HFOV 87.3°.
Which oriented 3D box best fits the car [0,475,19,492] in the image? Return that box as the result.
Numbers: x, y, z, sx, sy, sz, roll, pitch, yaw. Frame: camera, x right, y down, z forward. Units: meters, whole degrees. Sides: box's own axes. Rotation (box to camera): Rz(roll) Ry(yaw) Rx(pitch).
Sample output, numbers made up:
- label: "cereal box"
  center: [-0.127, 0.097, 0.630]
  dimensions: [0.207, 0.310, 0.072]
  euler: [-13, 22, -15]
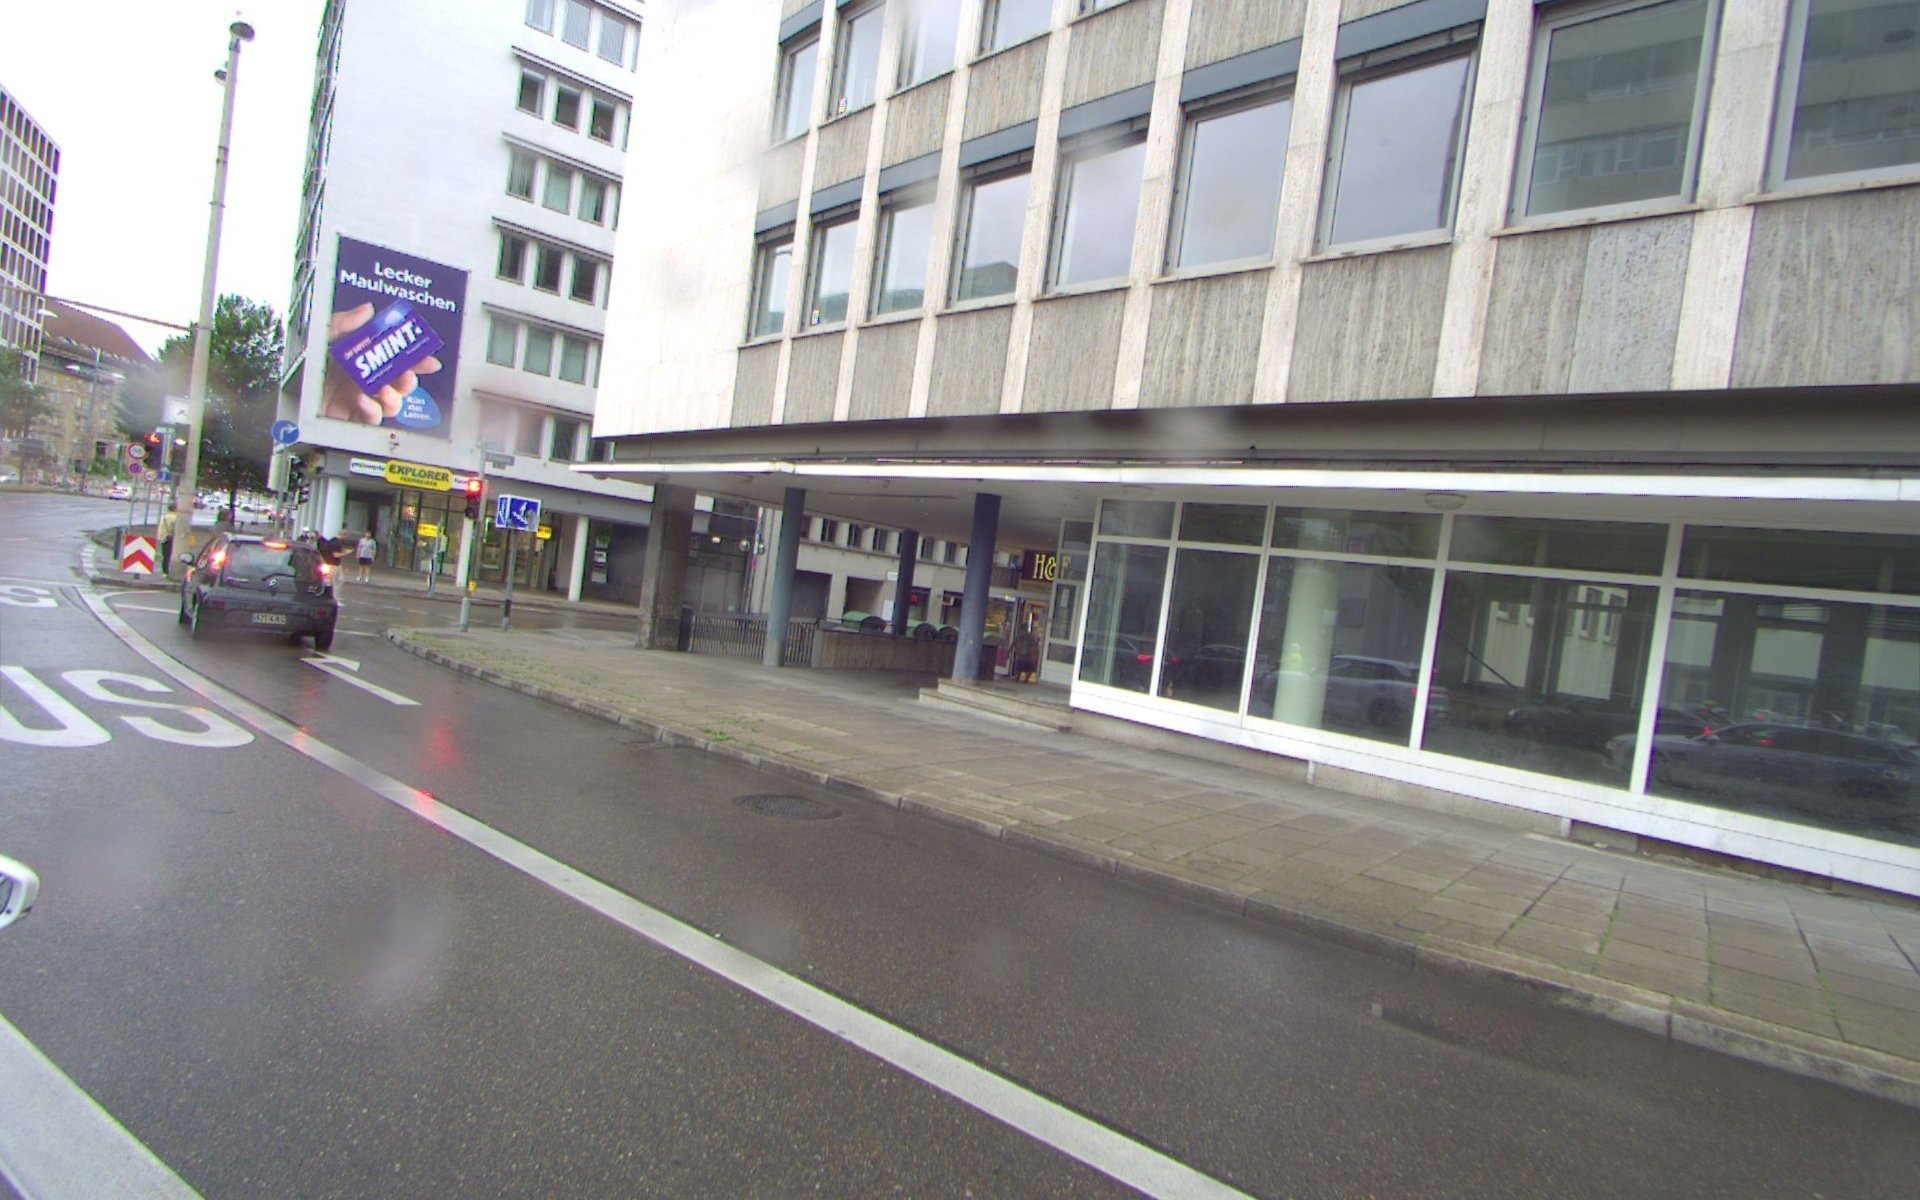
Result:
- label: "car"
  center: [-96.228, -11.779, 100.740]
  dimensions: [1.979, 1.506, 3.968]
  euler: [8, 0, -30]

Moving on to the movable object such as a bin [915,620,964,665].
- label: "movable object such as a bin"
  center: [-0.742, 1.506, 35.952]
  dimensions: [1.094, 1.399, 1.186]
  euler: [7, 1, -37]

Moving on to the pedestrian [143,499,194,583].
- label: "pedestrian"
  center: [-18.488, -1.383, 23.514]
  dimensions: [0.745, 1.820, 0.808]
  euler: [7, 1, -38]

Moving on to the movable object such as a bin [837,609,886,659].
- label: "movable object such as a bin"
  center: [-3.287, 1.125, 33.527]
  dimensions: [0.961, 1.447, 1.268]
  euler: [7, 1, -36]

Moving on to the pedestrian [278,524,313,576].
- label: "pedestrian"
  center: [-22.839, -1.726, 34.601]
  dimensions: [0.660, 1.675, 0.651]
  euler: [8, 0, -15]

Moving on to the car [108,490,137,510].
- label: "car"
  center: [-88.720, -10.579, 106.611]
  dimensions: [1.877, 1.662, 3.962]
  euler: [8, -1, -35]

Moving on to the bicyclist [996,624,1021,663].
- label: "bicyclist"
  center: [2.109, 1.905, 43.663]
  dimensions: [0.764, 1.588, 0.527]
  euler: [7, 0, -40]

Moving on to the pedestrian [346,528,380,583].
- label: "pedestrian"
  center: [-20.961, -1.540, 35.325]
  dimensions: [0.660, 1.815, 0.771]
  euler: [7, 0, -15]

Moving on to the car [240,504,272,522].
- label: "car"
  center: [-112.991, -13.945, 161.450]
  dimensions: [3.961, 2.037, 1.983]
  euler: [9, -1, -32]

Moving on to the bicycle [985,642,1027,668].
- label: "bicycle"
  center: [1.998, 2.388, 43.667]
  dimensions: [2.018, 0.899, 0.398]
  euler: [9, -1, -41]

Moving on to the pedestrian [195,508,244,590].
- label: "pedestrian"
  center: [-17.539, -1.209, 23.832]
  dimensions: [0.745, 1.820, 0.808]
  euler: [7, 1, -38]

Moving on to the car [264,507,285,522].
- label: "car"
  center: [-91.784, -11.413, 134.709]
  dimensions: [1.680, 1.503, 3.973]
  euler: [8, -2, -28]

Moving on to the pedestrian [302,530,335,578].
- label: "pedestrian"
  center: [-22.177, -1.583, 34.779]
  dimensions: [0.616, 1.561, 0.651]
  euler: [8, 0, -15]

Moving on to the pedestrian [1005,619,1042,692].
- label: "pedestrian"
  center: [1.674, 1.465, 26.562]
  dimensions: [0.697, 1.825, 0.801]
  euler: [8, 0, 7]

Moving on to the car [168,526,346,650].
- label: "car"
  center: [-10.450, -0.235, 14.842]
  dimensions: [1.566, 1.446, 3.953]
  euler: [9, -2, -42]

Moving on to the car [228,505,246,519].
- label: "car"
  center: [-123.723, -15.039, 172.225]
  dimensions: [1.980, 2.037, 3.968]
  euler: [8, -1, -31]

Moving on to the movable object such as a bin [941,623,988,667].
- label: "movable object such as a bin"
  center: [0.162, 1.633, 36.639]
  dimensions: [1.094, 1.399, 1.186]
  euler: [7, 1, -37]

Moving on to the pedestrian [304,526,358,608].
- label: "pedestrian"
  center: [-14.385, -0.757, 22.998]
  dimensions: [0.768, 1.752, 0.589]
  euler: [7, 0, -44]

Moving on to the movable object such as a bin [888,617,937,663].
- label: "movable object such as a bin"
  center: [-1.662, 1.393, 35.233]
  dimensions: [1.094, 1.399, 1.186]
  euler: [7, 1, -37]
